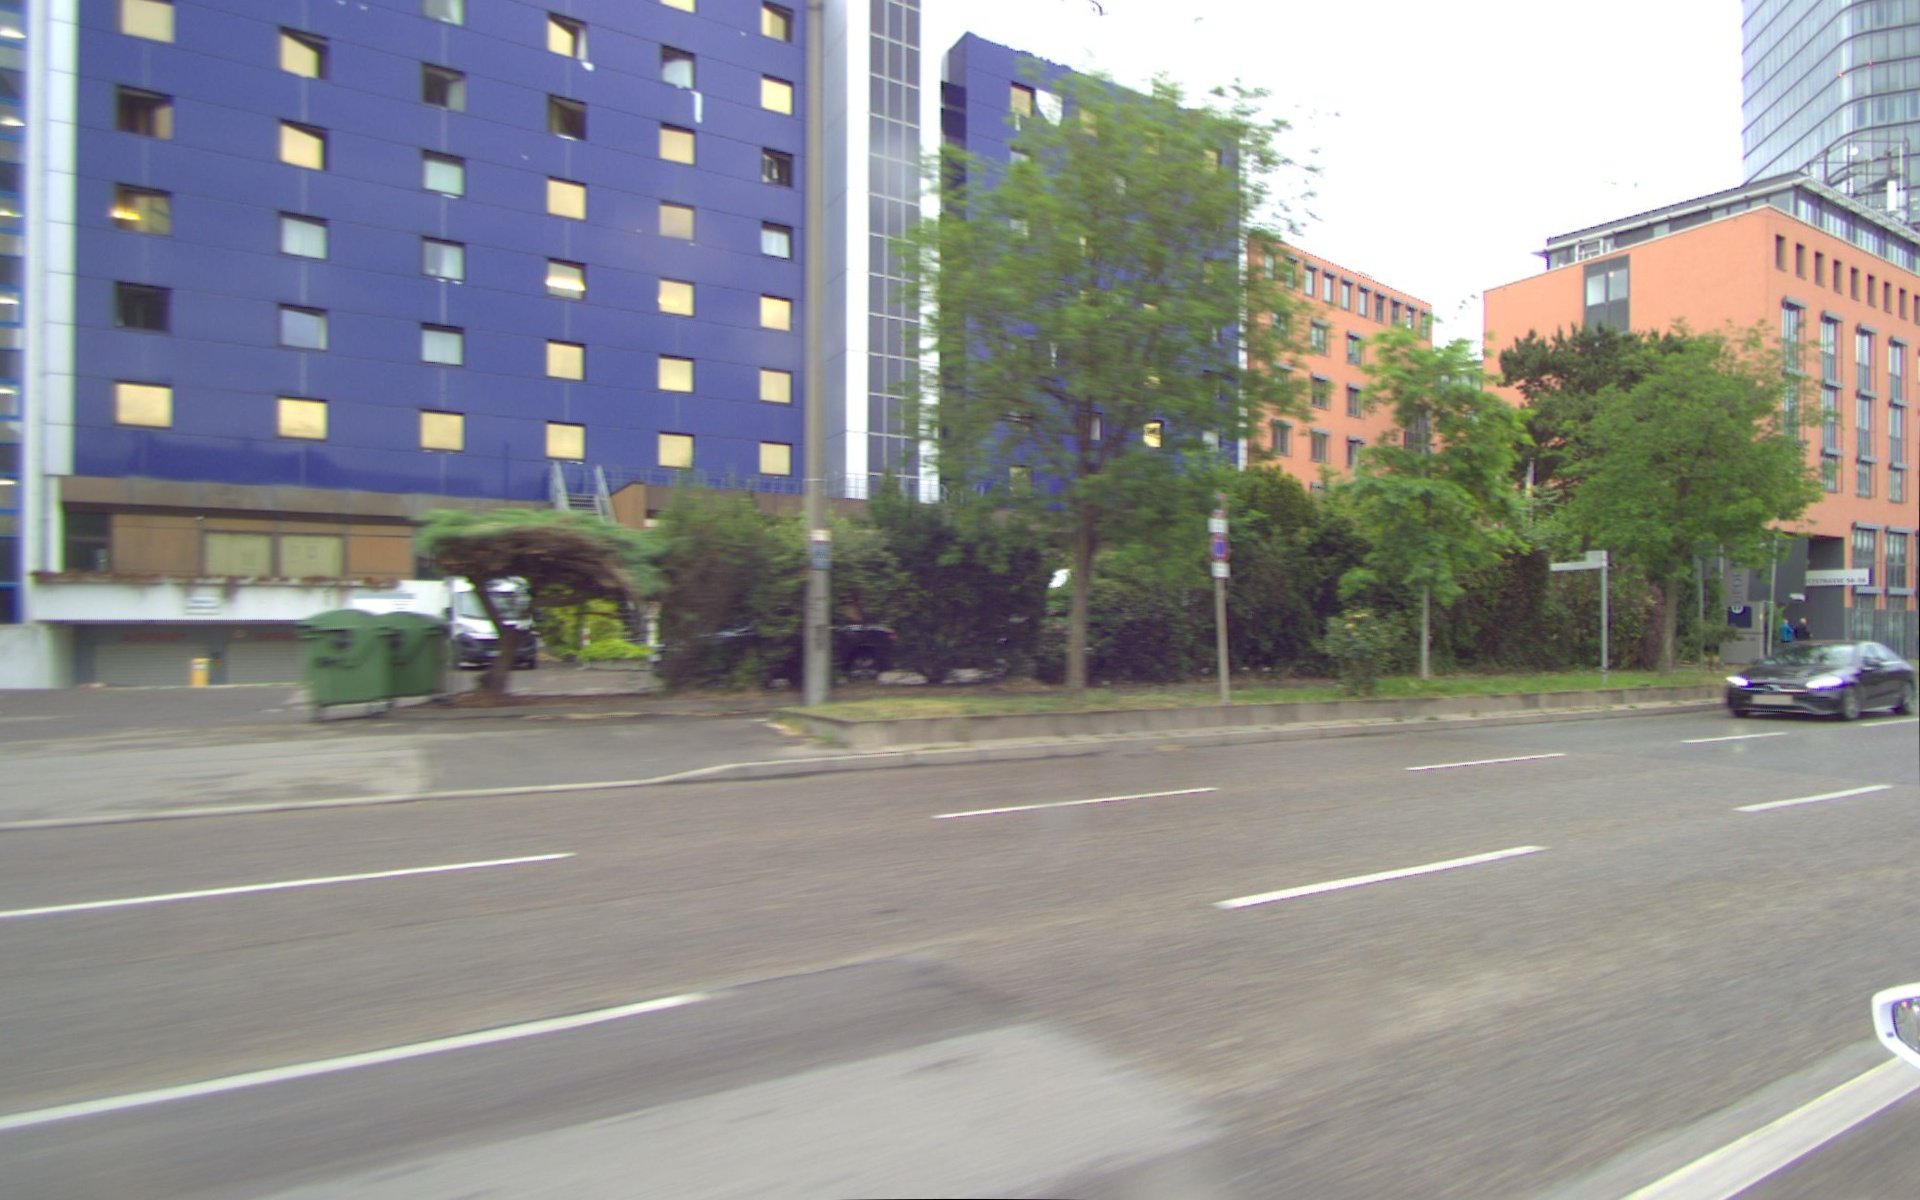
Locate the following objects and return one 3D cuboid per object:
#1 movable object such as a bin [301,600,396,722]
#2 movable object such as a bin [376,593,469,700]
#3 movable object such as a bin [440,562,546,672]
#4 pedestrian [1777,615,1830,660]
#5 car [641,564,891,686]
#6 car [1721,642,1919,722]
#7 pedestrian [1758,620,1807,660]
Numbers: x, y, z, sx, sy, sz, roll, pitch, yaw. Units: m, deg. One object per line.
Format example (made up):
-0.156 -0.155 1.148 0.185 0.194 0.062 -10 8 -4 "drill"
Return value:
-8.214 0.797 13.472 0.942 1.510 1.381 -2 -1 -36 "movable object such as a bin"
-8.041 0.719 15.112 0.936 1.510 1.389 2 -4 -18 "movable object such as a bin"
-12.960 0.586 27.671 2.136 2.661 5.601 3 -4 -29 "movable object such as a bin"
36.006 1.637 42.901 1.422 1.847 1.309 3 -4 -30 "pedestrian"
-3.629 0.562 19.044 4.266 2.039 1.828 4 -4 -30 "car"
16.601 1.498 19.223 4.392 1.341 1.614 1 -2 -29 "car"
35.881 1.763 43.824 1.403 1.700 1.201 3 -4 -30 "pedestrian"
